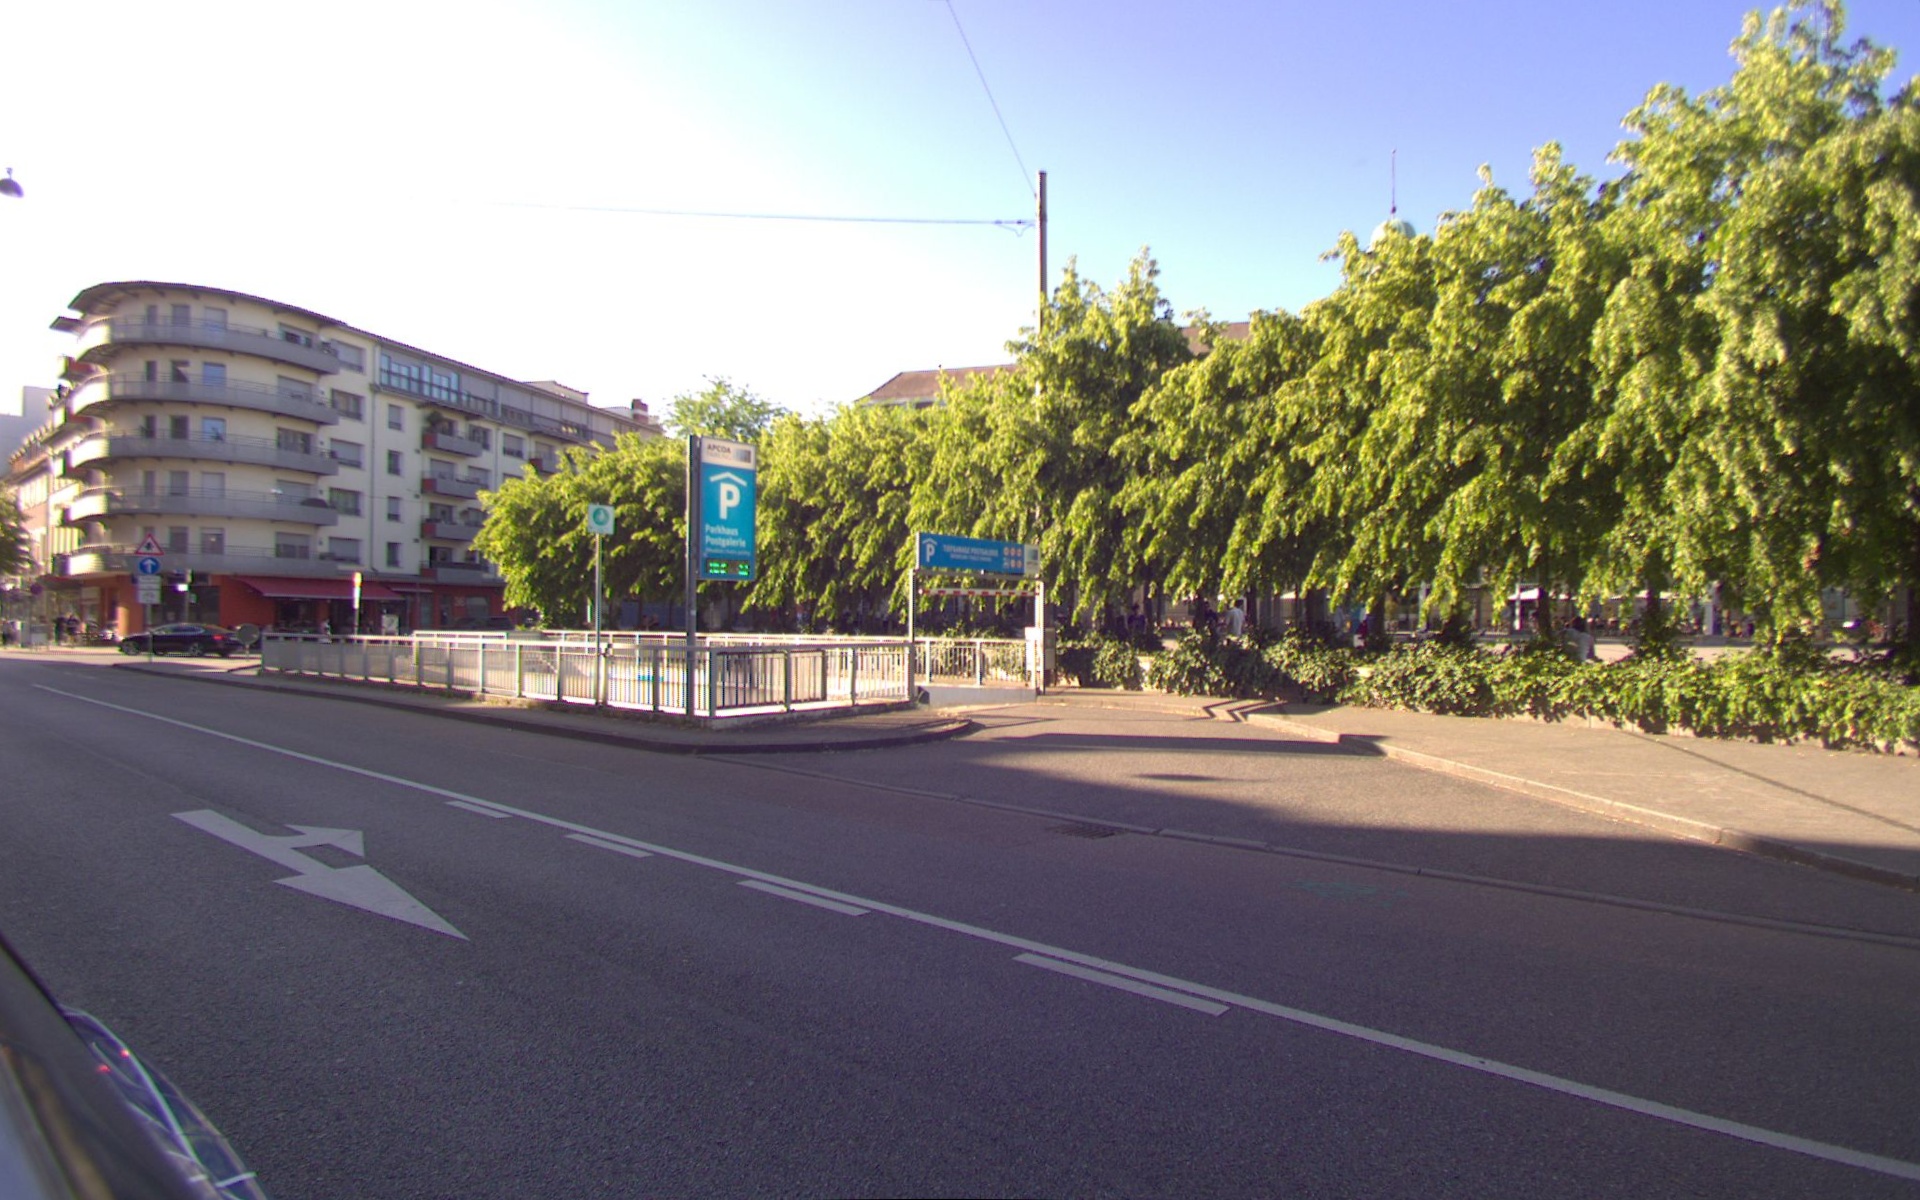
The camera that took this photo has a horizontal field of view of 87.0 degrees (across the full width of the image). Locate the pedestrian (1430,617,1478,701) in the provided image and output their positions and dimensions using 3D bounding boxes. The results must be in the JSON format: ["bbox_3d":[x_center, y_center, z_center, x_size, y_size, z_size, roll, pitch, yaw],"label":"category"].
[{"bbox_3d":[8.743,1.026,17.897,0.621,1.447,0.645,-1,0,39],"label":"pedestrian"}]

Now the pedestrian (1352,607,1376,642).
[{"bbox_3d":[18.205,1.083,45.603,0.672,1.536,0.696,-1,0,-19],"label":"pedestrian"}]

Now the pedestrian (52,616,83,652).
[{"bbox_3d":[-44.278,1.669,50.210,0.962,1.762,1.047,-1,0,41],"label":"pedestrian"}]

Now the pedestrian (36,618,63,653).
[{"bbox_3d":[-50.921,1.985,56.577,0.790,1.934,0.978,-1,0,37],"label":"pedestrian"}]

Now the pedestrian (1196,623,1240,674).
[{"bbox_3d":[5.716,1.063,22.446,0.682,1.079,0.686,-1,0,-13],"label":"pedestrian"}]

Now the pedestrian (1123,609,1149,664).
[{"bbox_3d":[4.505,0.931,25.918,0.545,1.385,0.680,-1,0,19],"label":"pedestrian"}]

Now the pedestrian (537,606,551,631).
[{"bbox_3d":[-31.258,1.398,76.000,0.684,1.857,0.737,-1,0,41],"label":"pedestrian"}]

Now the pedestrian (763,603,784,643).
[{"bbox_3d":[-9.028,1.101,48.890,0.681,1.877,0.741,-1,0,27],"label":"pedestrian"}]

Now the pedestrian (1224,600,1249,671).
[{"bbox_3d":[6.325,0.803,23.137,0.521,1.594,0.680,-1,0,16],"label":"pedestrian"}]

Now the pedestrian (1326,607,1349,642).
[{"bbox_3d":[17.182,1.097,46.038,0.672,1.542,0.696,-1,0,-18],"label":"pedestrian"}]

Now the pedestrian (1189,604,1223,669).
[{"bbox_3d":[5.798,0.852,23.824,0.688,1.511,0.680,-1,0,19],"label":"pedestrian"}]

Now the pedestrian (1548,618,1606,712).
[{"bbox_3d":[9.800,1.012,16.088,0.611,1.447,0.588,-1,0,14],"label":"pedestrian"}]

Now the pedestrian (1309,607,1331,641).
[{"bbox_3d":[16.657,1.104,46.829,0.673,1.535,0.695,-1,0,-7],"label":"pedestrian"}]

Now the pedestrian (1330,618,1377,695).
[{"bbox_3d":[7.516,1.061,19.343,0.622,1.409,0.644,-1,0,44],"label":"pedestrian"}]

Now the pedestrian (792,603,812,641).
[{"bbox_3d":[-7.786,1.094,49.827,0.681,1.857,0.741,-1,0,27],"label":"pedestrian"}]

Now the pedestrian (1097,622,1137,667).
[{"bbox_3d":[3.896,1.092,25.103,0.682,1.079,0.686,-1,0,-29],"label":"pedestrian"}]

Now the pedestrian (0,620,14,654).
[{"bbox_3d":[-48.713,1.874,51.271,1.080,1.732,1.055,-1,0,42],"label":"pedestrian"}]

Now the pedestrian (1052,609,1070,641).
[{"bbox_3d":[4.465,1.106,44.815,0.684,1.385,0.684,-1,0,1],"label":"pedestrian"}]

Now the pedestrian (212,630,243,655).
[{"bbox_3d":[-36.826,2.126,50.895,0.827,1.207,0.931,-1,0,16],"label":"pedestrian"}]

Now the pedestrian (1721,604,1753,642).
[{"bbox_3d":[31.384,0.918,40.884,0.729,1.542,0.694,-1,0,-3],"label":"pedestrian"}]

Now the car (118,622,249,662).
[{"bbox_3d":[-32.930,1.762,42.984,4.188,1.542,1.677,2,-2,-2],"label":"car"}]

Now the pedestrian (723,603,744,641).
[{"bbox_3d":[-11.292,1.091,50.470,0.679,1.857,0.743,-1,0,19],"label":"pedestrian"}]

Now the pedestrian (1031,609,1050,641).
[{"bbox_3d":[3.570,1.117,44.852,0.752,1.385,0.684,-1,0,1],"label":"pedestrian"}]

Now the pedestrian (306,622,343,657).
[{"bbox_3d":[-31.663,1.952,50.444,1.251,1.678,1.143,-1,0,-13],"label":"pedestrian"}]
